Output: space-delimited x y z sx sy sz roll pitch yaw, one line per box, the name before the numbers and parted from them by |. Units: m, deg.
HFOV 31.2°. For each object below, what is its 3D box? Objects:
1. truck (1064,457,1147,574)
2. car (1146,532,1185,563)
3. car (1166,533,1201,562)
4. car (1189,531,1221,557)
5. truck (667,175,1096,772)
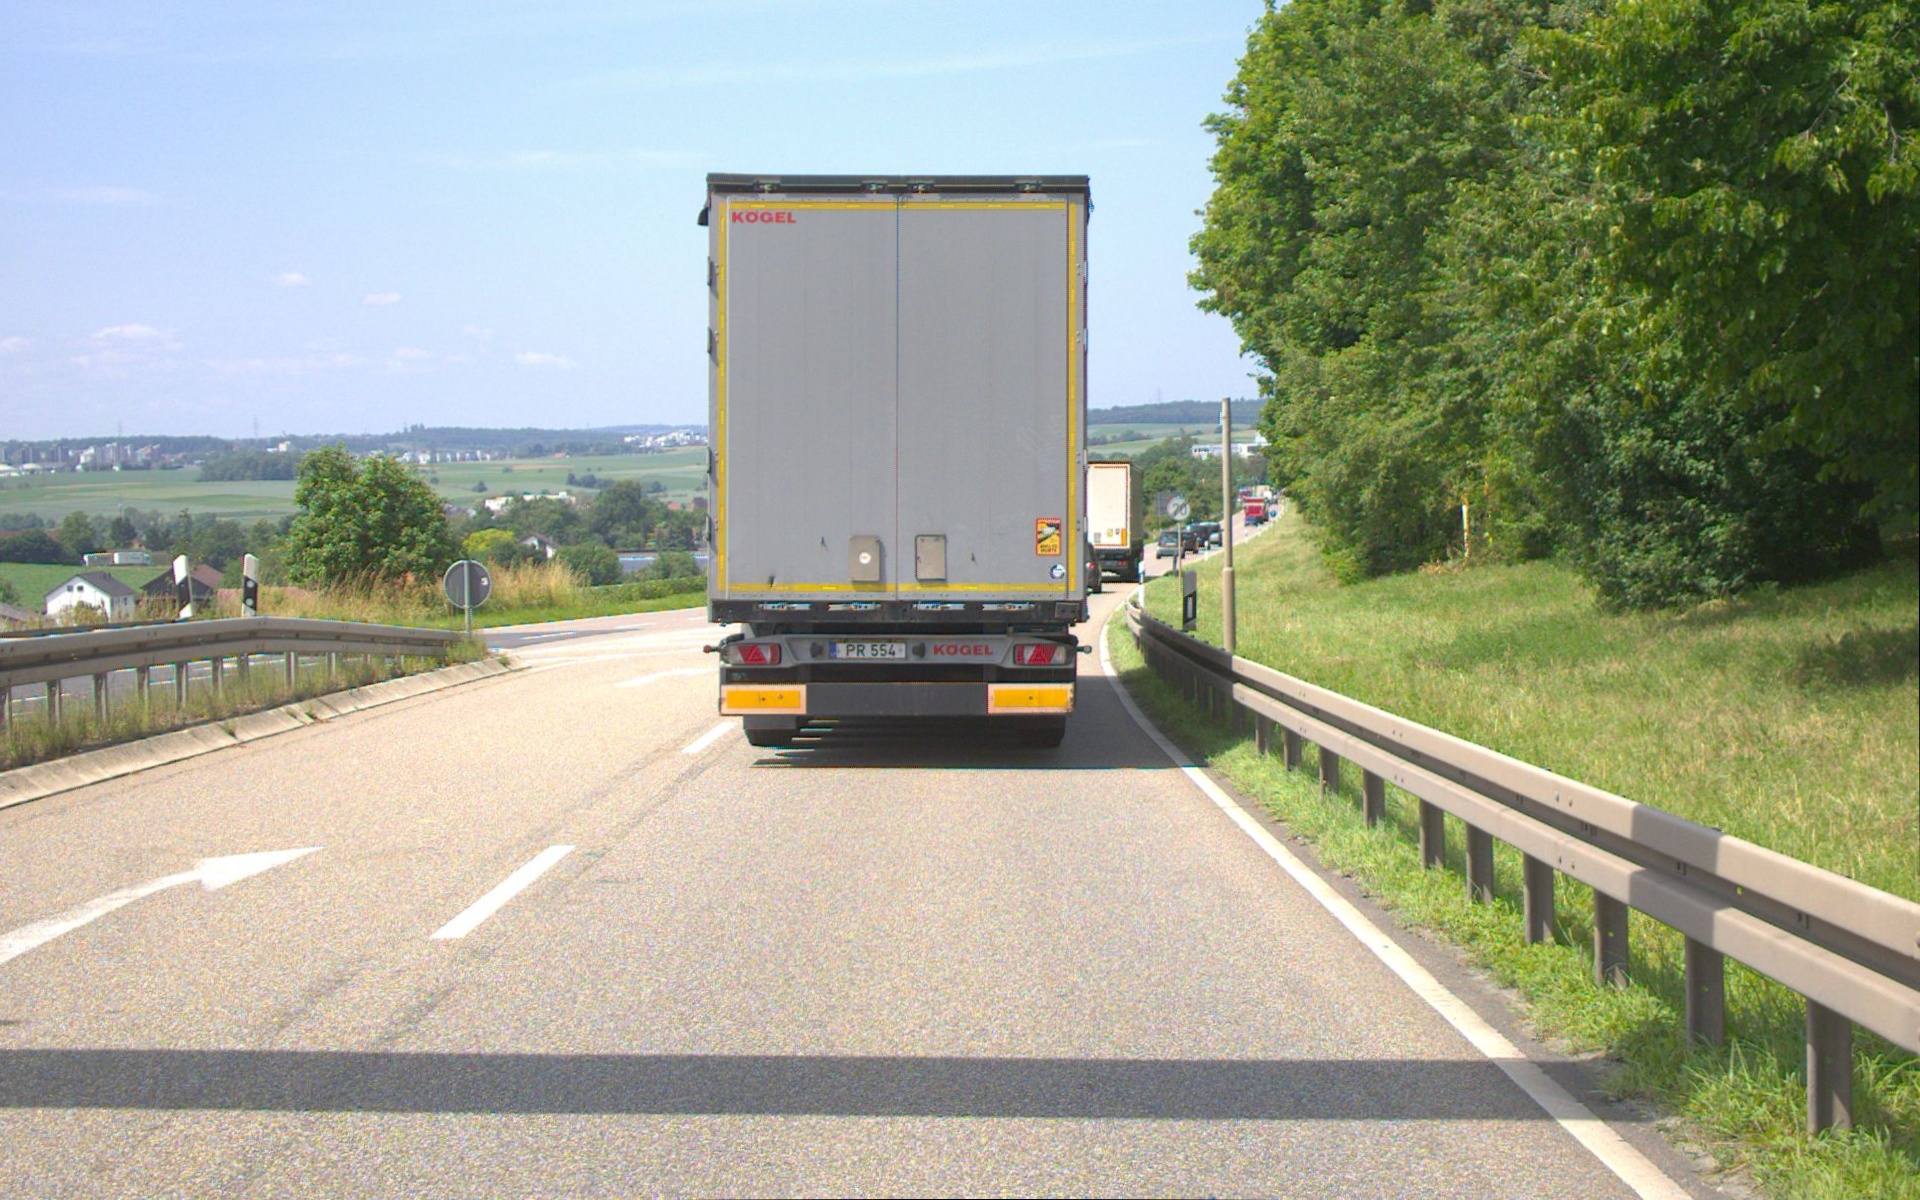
truck | 5.033 -2.807 117.454 2.656 3.752 10.160 0 0 3
car | 11.183 -2.850 187.194 1.786 1.682 4.000 0 0 -1
car | 13.639 -3.193 209.898 1.786 1.682 4.000 0 0 -1
car | 16.477 -3.783 231.173 1.786 1.682 4.000 0 0 -1
truck | -0.564 -0.946 28.384 2.799 3.916 11.342 0 1 0
